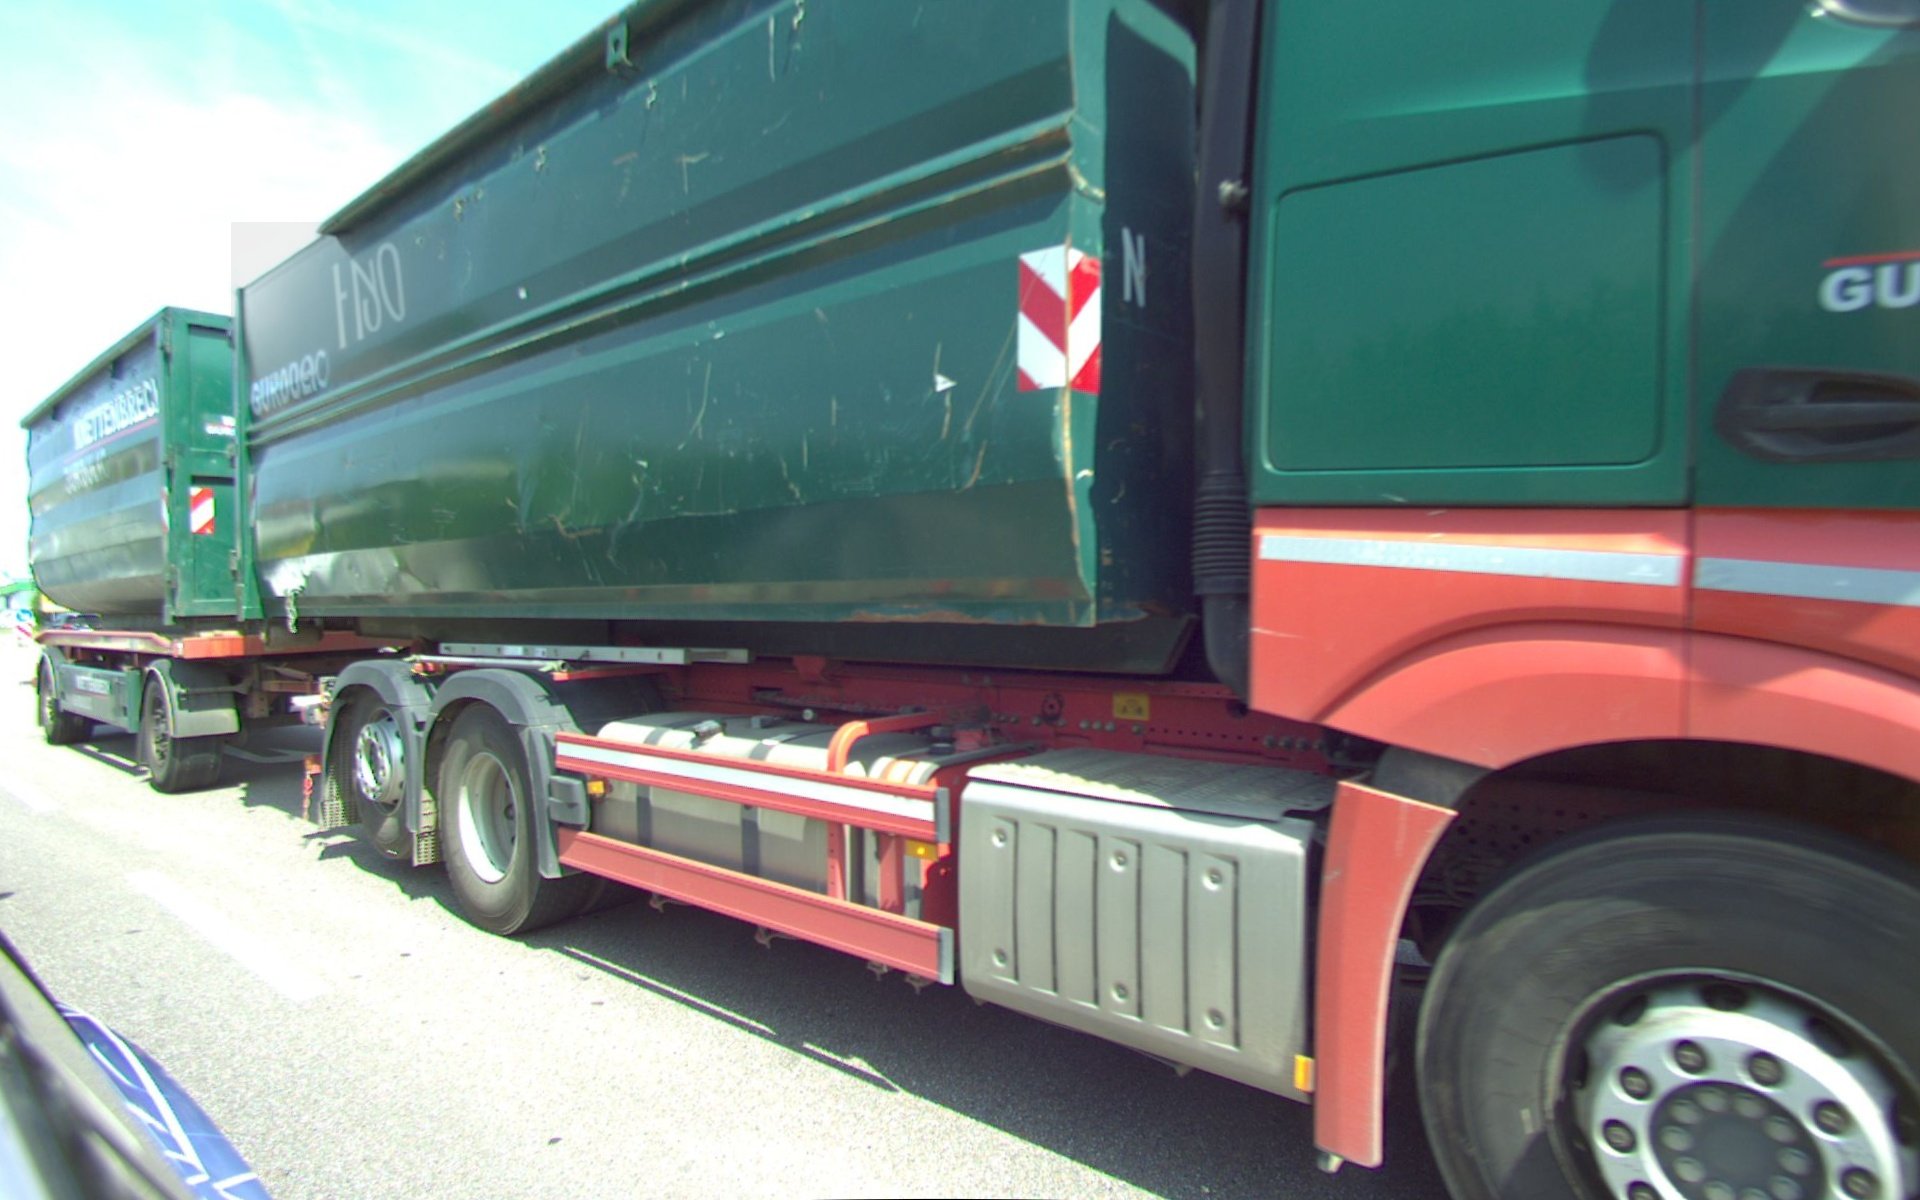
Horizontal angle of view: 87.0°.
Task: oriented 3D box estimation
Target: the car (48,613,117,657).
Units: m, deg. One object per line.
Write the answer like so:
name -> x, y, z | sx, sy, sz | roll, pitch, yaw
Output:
car -> -42.778, 1.673, 49.311 | 4.107, 1.762, 1.848 | 2, 5, 40

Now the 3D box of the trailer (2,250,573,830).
trailer -> -7.642, -0.321, 10.767 | 8.663, 3.950, 2.773 | -2, -1, 40

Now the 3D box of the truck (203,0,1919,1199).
truck -> -0.576, -0.513, 4.766 | 10.042, 3.950, 2.641 | -2, -1, 40
